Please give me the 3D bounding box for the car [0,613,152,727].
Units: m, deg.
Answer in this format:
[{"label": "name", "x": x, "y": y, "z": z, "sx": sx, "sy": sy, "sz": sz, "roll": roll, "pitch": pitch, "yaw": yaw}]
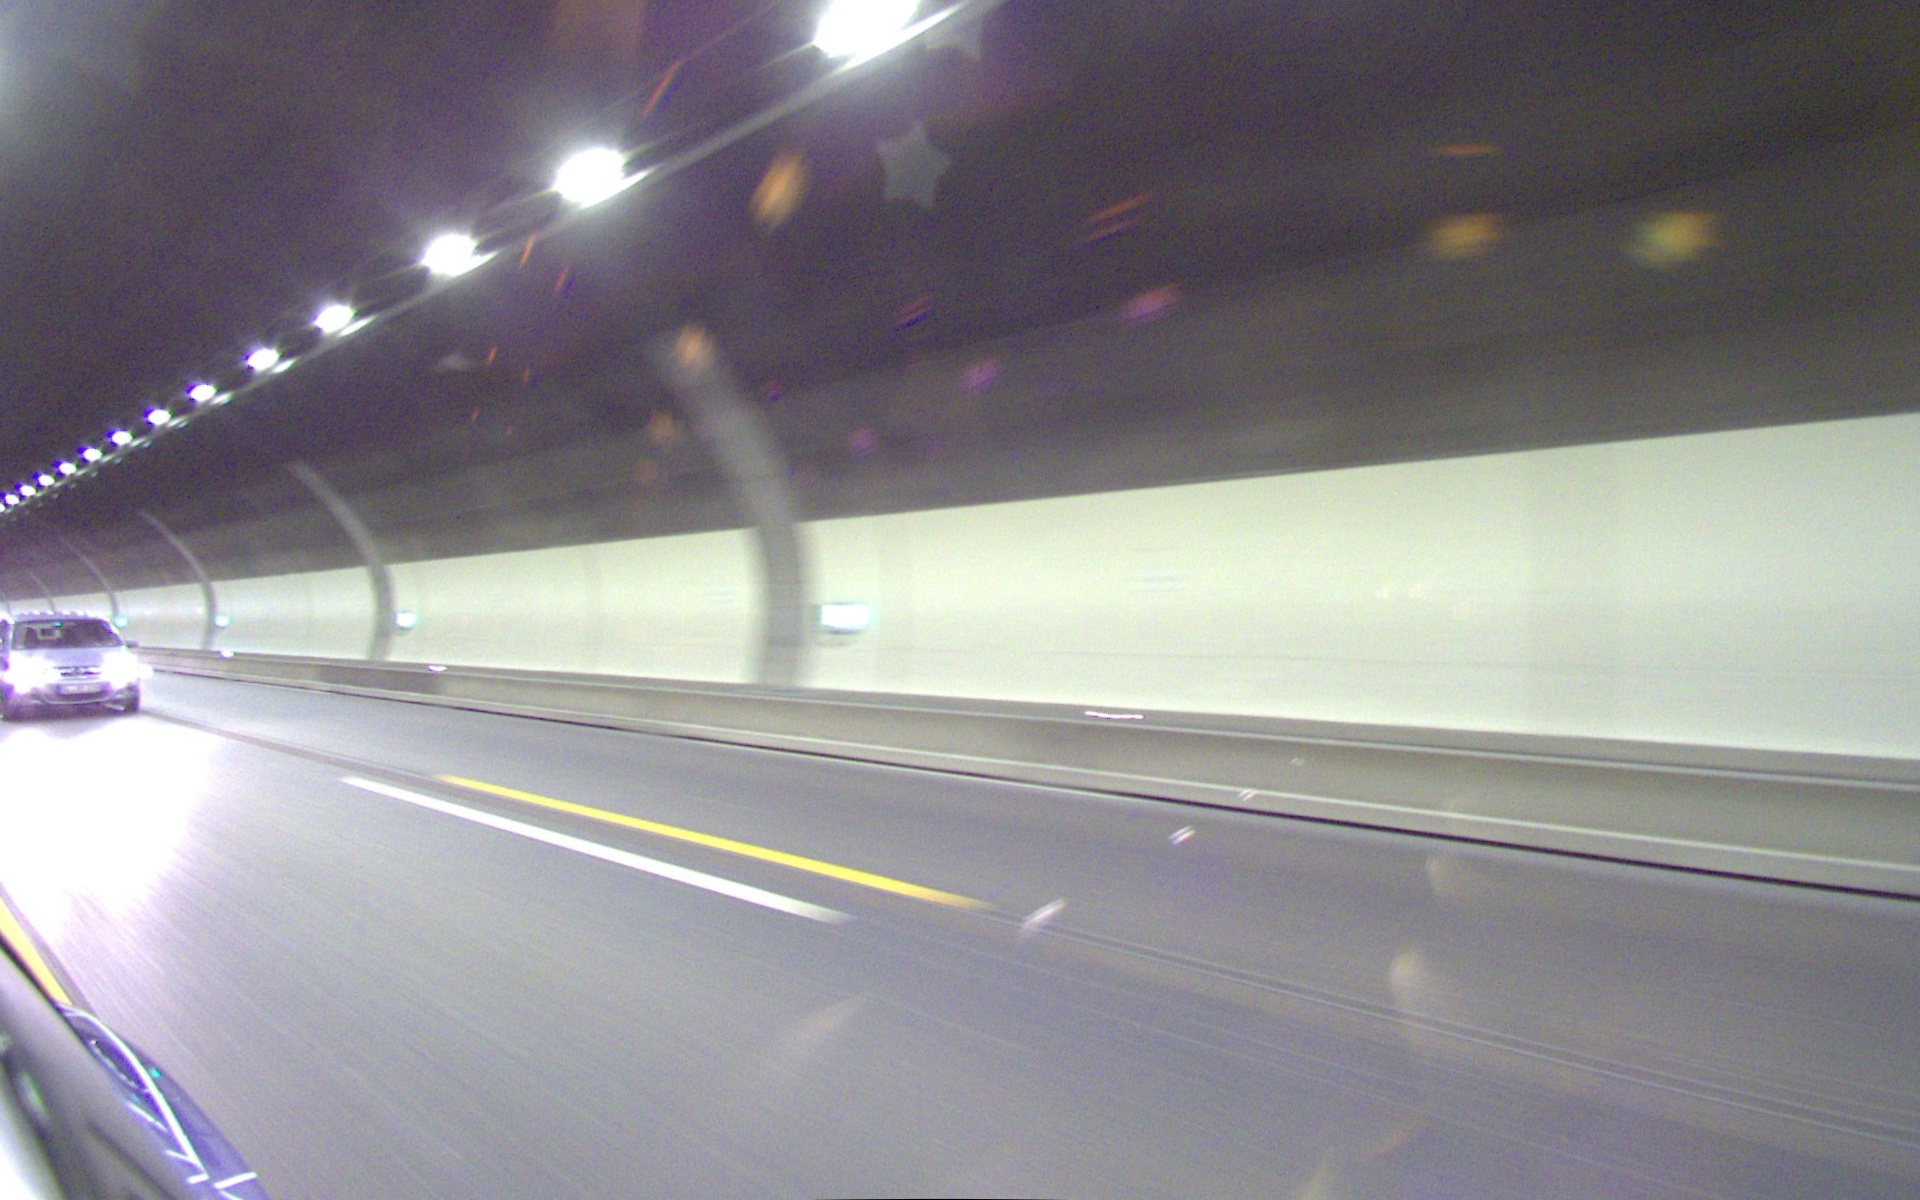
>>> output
[{"label": "car", "x": -14.651, "y": 1.027, "z": 16.325, "sx": 4.094, "sy": 1.584, "sz": 1.744, "roll": -1, "pitch": 0, "yaw": 40}]
